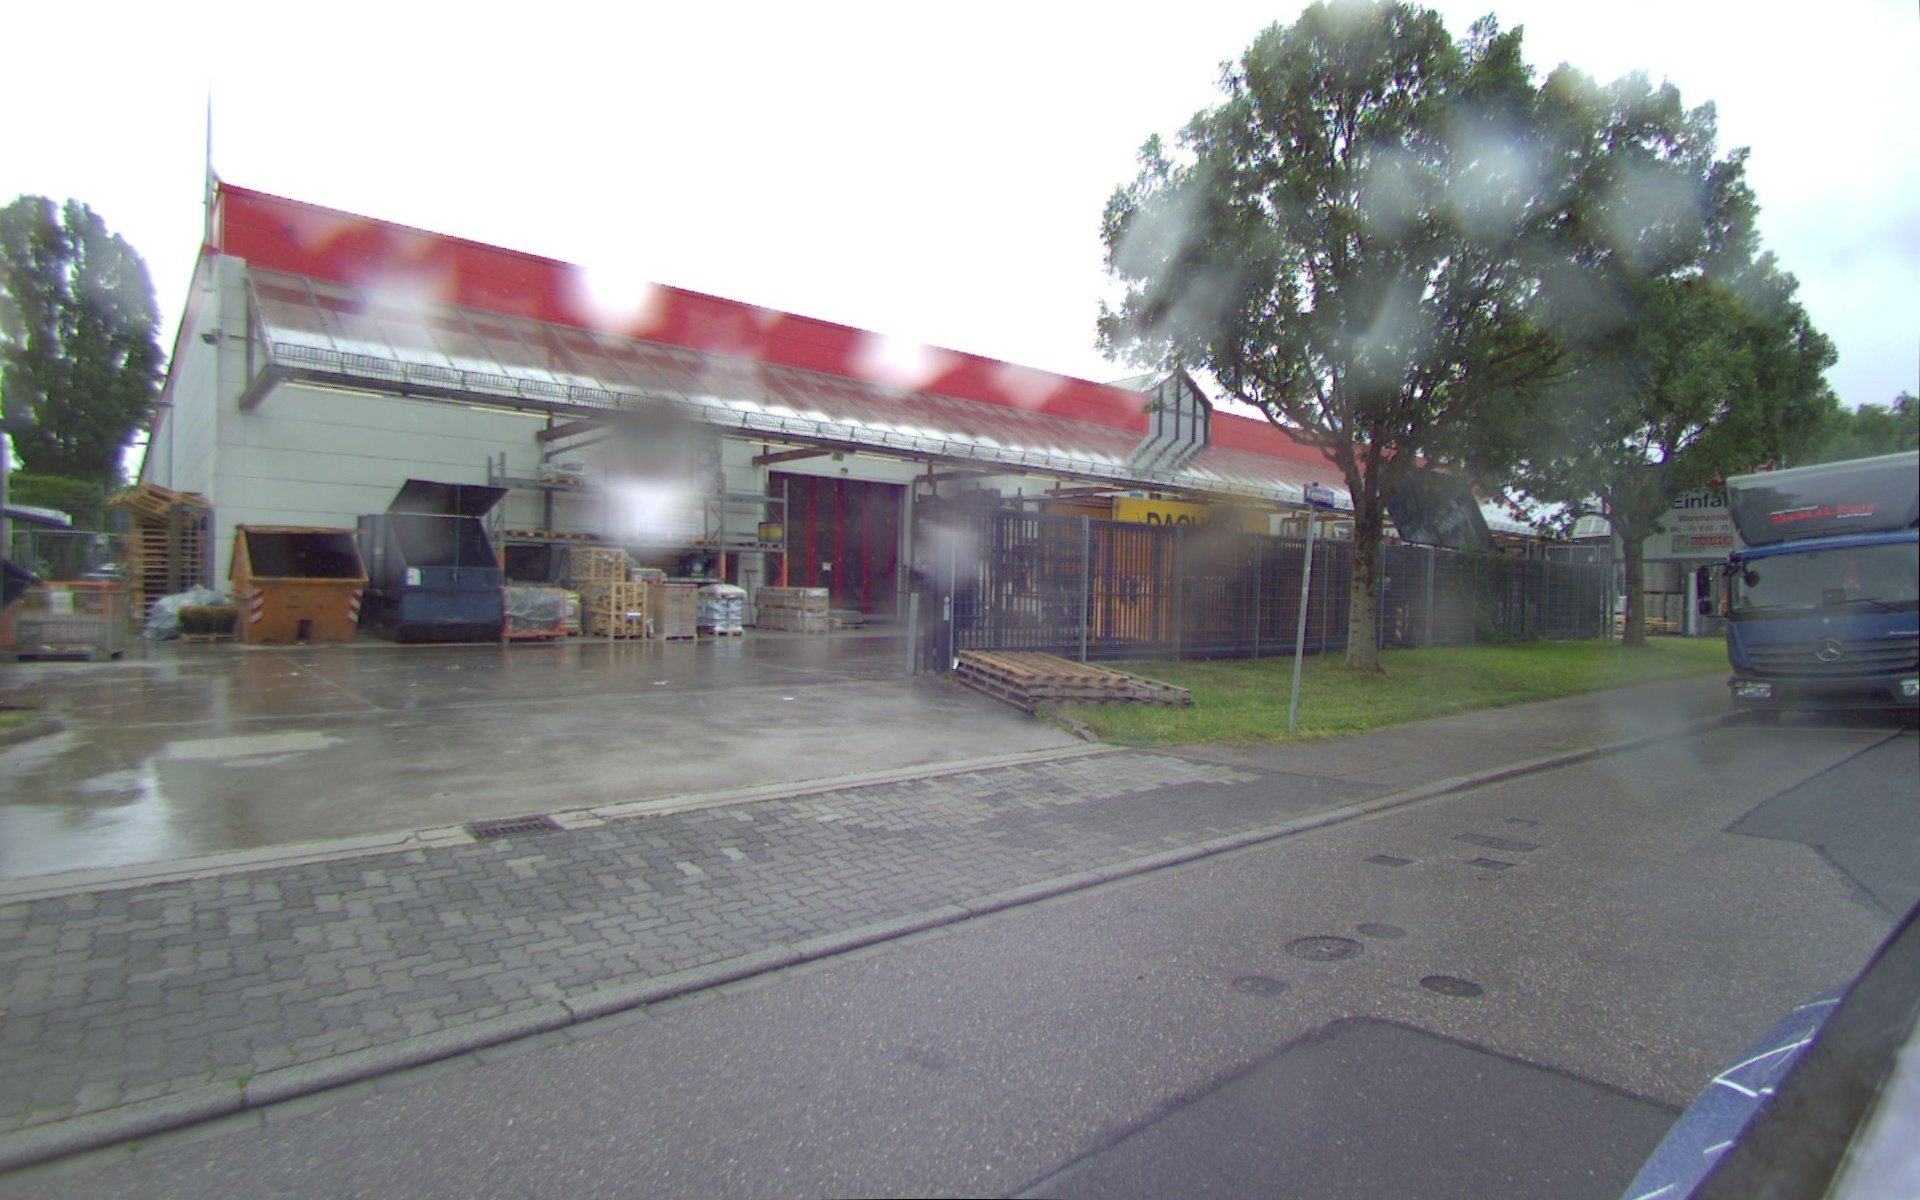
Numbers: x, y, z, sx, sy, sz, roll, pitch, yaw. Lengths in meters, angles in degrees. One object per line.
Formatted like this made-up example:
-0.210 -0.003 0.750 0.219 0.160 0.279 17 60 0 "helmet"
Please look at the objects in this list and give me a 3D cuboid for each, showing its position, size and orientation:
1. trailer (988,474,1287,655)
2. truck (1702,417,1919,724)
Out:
5.210 -0.951 28.162 9.305 4.295 2.973 -1 2 -41 "trailer"
14.148 -0.333 15.466 7.867 3.740 2.676 0 -2 -40 "truck"
